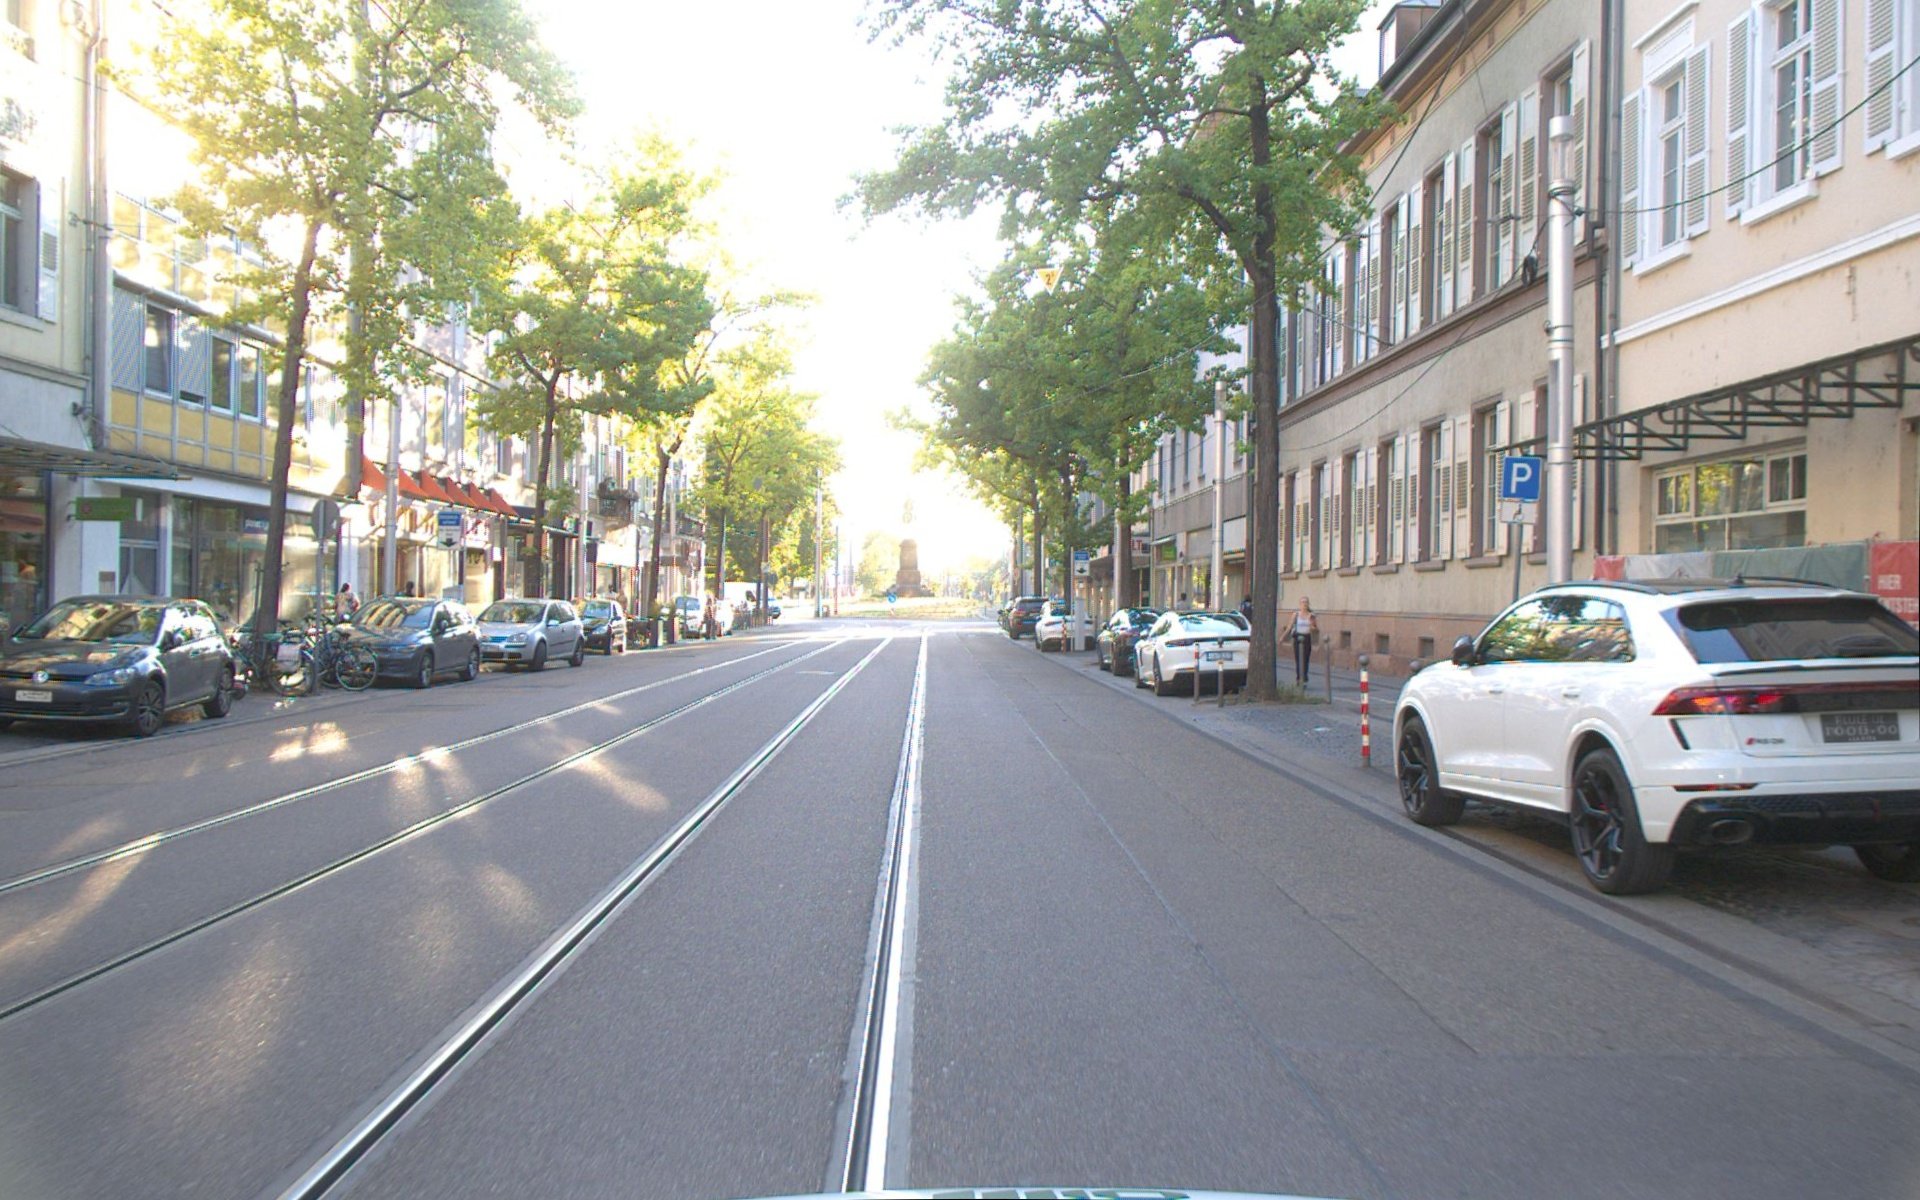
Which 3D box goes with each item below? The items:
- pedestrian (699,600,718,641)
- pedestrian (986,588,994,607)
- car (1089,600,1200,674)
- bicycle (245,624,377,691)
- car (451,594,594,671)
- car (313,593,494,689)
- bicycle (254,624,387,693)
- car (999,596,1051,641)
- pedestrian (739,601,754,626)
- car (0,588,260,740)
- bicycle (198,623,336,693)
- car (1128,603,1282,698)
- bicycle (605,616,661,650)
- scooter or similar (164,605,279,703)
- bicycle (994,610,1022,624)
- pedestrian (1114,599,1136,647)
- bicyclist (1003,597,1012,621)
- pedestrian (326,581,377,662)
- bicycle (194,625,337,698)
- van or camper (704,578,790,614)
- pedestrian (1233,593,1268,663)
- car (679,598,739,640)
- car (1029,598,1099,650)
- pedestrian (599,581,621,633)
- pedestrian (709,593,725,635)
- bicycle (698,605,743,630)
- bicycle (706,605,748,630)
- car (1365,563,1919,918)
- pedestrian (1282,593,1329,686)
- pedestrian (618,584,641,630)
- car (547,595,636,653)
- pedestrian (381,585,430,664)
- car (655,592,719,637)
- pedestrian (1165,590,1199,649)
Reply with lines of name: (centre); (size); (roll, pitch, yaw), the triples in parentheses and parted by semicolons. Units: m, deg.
pedestrian: (-9.559, 0.792, 62.777); (0.607, 1.536, 0.729); (0, -1, -1)
pedestrian: (2.524, -0.203, 138.969); (0.623, 1.634, 0.771); (0, 0, -4)
car: (4.083, 0.780, 37.299); (1.796, 1.504, 4.760); (-2, 0, -2)
bicycle: (-10.205, 0.899, 26.017); (1.930, 1.019, 0.330); (1, 0, 1)
car: (-9.339, 0.679, 35.636); (1.730, 1.523, 4.176); (1, 0, 4)
car: (-9.672, 0.664, 29.107); (1.677, 1.486, 4.485); (2, 0, -1)
bicycle: (-9.903, 0.903, 25.637); (1.930, 1.019, 0.330); (1, 0, 1)
car: (2.810, 0.777, 72.323); (1.899, 1.790, 4.678); (-3, 0, -1)
pedestrian: (-11.483, 0.747, 89.057); (0.713, 1.313, 0.856); (1, 0, -4)
car: (-9.737, 0.662, 19.255); (1.758, 1.516, 4.236); (2, 0, -7)
bicycle: (-10.548, 0.880, 25.181); (1.929, 1.019, 0.419); (1, 0, 3)
car: (4.170, 0.809, 28.940); (1.873, 1.445, 4.887); (-2, 0, -1)
bicycle: (-9.958, 1.001, 50.428); (1.582, 0.982, 0.433); (2, 0, 4)
scooter or similar: (-10.280, 0.744, 23.034); (1.390, 1.293, 0.375); (2, 0, 3)
bicycle: (2.986, 1.056, 102.784); (1.696, 0.880, 0.367); (1, 0, -2)
pedestrian: (5.983, 0.826, 60.022); (0.630, 1.699, 0.786); (-3, 0, -1)
bicyclist: (2.971, 0.578, 102.794); (0.525, 1.463, 0.367); (0, 0, -2)
pedestrian: (-13.258, 0.460, 36.053); (0.773, 1.723, 0.913); (0, 0, -2)
bicycle: (-10.048, 0.886, 23.940); (1.930, 1.019, 0.330); (1, 0, 1)
van or camper: (-15.062, -0.302, 116.843); (6.203, 2.516, 2.602); (1, 0, 40)
pedestrian: (7.202, 0.684, 41.062); (0.644, 1.694, 0.888); (-2, 0, -2)
car: (-10.746, 0.792, 71.166); (1.799, 1.607, 4.701); (4, 0, -1)
car: (3.401, 0.763, 54.999); (1.953, 1.524, 4.679); (-3, 0, 0)
pedestrian: (-13.867, 0.277, 65.555); (0.707, 2.049, 0.642); (1, 0, -1)
pedestrian: (-9.343, 0.544, 63.649); (0.510, 1.596, 0.633); (0, -1, -1)
bicycle: (-11.578, 0.847, 80.069); (2.082, 1.124, 0.497); (3, -1, -27)
bicycle: (-11.642, 0.880, 82.758); (1.982, 1.124, 0.501); (2, -1, 1)
car: (4.387, 0.703, 10.714); (1.958, 1.717, 4.963); (-2, 0, -4)
pedestrian: (6.058, 0.689, 29.052); (0.636, 1.601, 0.798); (1, 0, -1)
pedestrian: (-13.102, 0.282, 65.567); (0.707, 1.791, 1.089); (1, 0, -1)
car: (-10.216, 0.647, 46.102); (1.632, 1.453, 3.826); (3, 0, -2)
pedestrian: (-12.151, 0.530, 36.291); (0.827, 1.723, 0.740); (0, 0, -2)
car: (-10.863, 0.554, 65.986); (1.799, 1.607, 4.115); (4, 0, -1)
pedestrian: (6.908, 0.600, 51.461); (0.841, 1.783, 0.932); (-3, 0, -1)
